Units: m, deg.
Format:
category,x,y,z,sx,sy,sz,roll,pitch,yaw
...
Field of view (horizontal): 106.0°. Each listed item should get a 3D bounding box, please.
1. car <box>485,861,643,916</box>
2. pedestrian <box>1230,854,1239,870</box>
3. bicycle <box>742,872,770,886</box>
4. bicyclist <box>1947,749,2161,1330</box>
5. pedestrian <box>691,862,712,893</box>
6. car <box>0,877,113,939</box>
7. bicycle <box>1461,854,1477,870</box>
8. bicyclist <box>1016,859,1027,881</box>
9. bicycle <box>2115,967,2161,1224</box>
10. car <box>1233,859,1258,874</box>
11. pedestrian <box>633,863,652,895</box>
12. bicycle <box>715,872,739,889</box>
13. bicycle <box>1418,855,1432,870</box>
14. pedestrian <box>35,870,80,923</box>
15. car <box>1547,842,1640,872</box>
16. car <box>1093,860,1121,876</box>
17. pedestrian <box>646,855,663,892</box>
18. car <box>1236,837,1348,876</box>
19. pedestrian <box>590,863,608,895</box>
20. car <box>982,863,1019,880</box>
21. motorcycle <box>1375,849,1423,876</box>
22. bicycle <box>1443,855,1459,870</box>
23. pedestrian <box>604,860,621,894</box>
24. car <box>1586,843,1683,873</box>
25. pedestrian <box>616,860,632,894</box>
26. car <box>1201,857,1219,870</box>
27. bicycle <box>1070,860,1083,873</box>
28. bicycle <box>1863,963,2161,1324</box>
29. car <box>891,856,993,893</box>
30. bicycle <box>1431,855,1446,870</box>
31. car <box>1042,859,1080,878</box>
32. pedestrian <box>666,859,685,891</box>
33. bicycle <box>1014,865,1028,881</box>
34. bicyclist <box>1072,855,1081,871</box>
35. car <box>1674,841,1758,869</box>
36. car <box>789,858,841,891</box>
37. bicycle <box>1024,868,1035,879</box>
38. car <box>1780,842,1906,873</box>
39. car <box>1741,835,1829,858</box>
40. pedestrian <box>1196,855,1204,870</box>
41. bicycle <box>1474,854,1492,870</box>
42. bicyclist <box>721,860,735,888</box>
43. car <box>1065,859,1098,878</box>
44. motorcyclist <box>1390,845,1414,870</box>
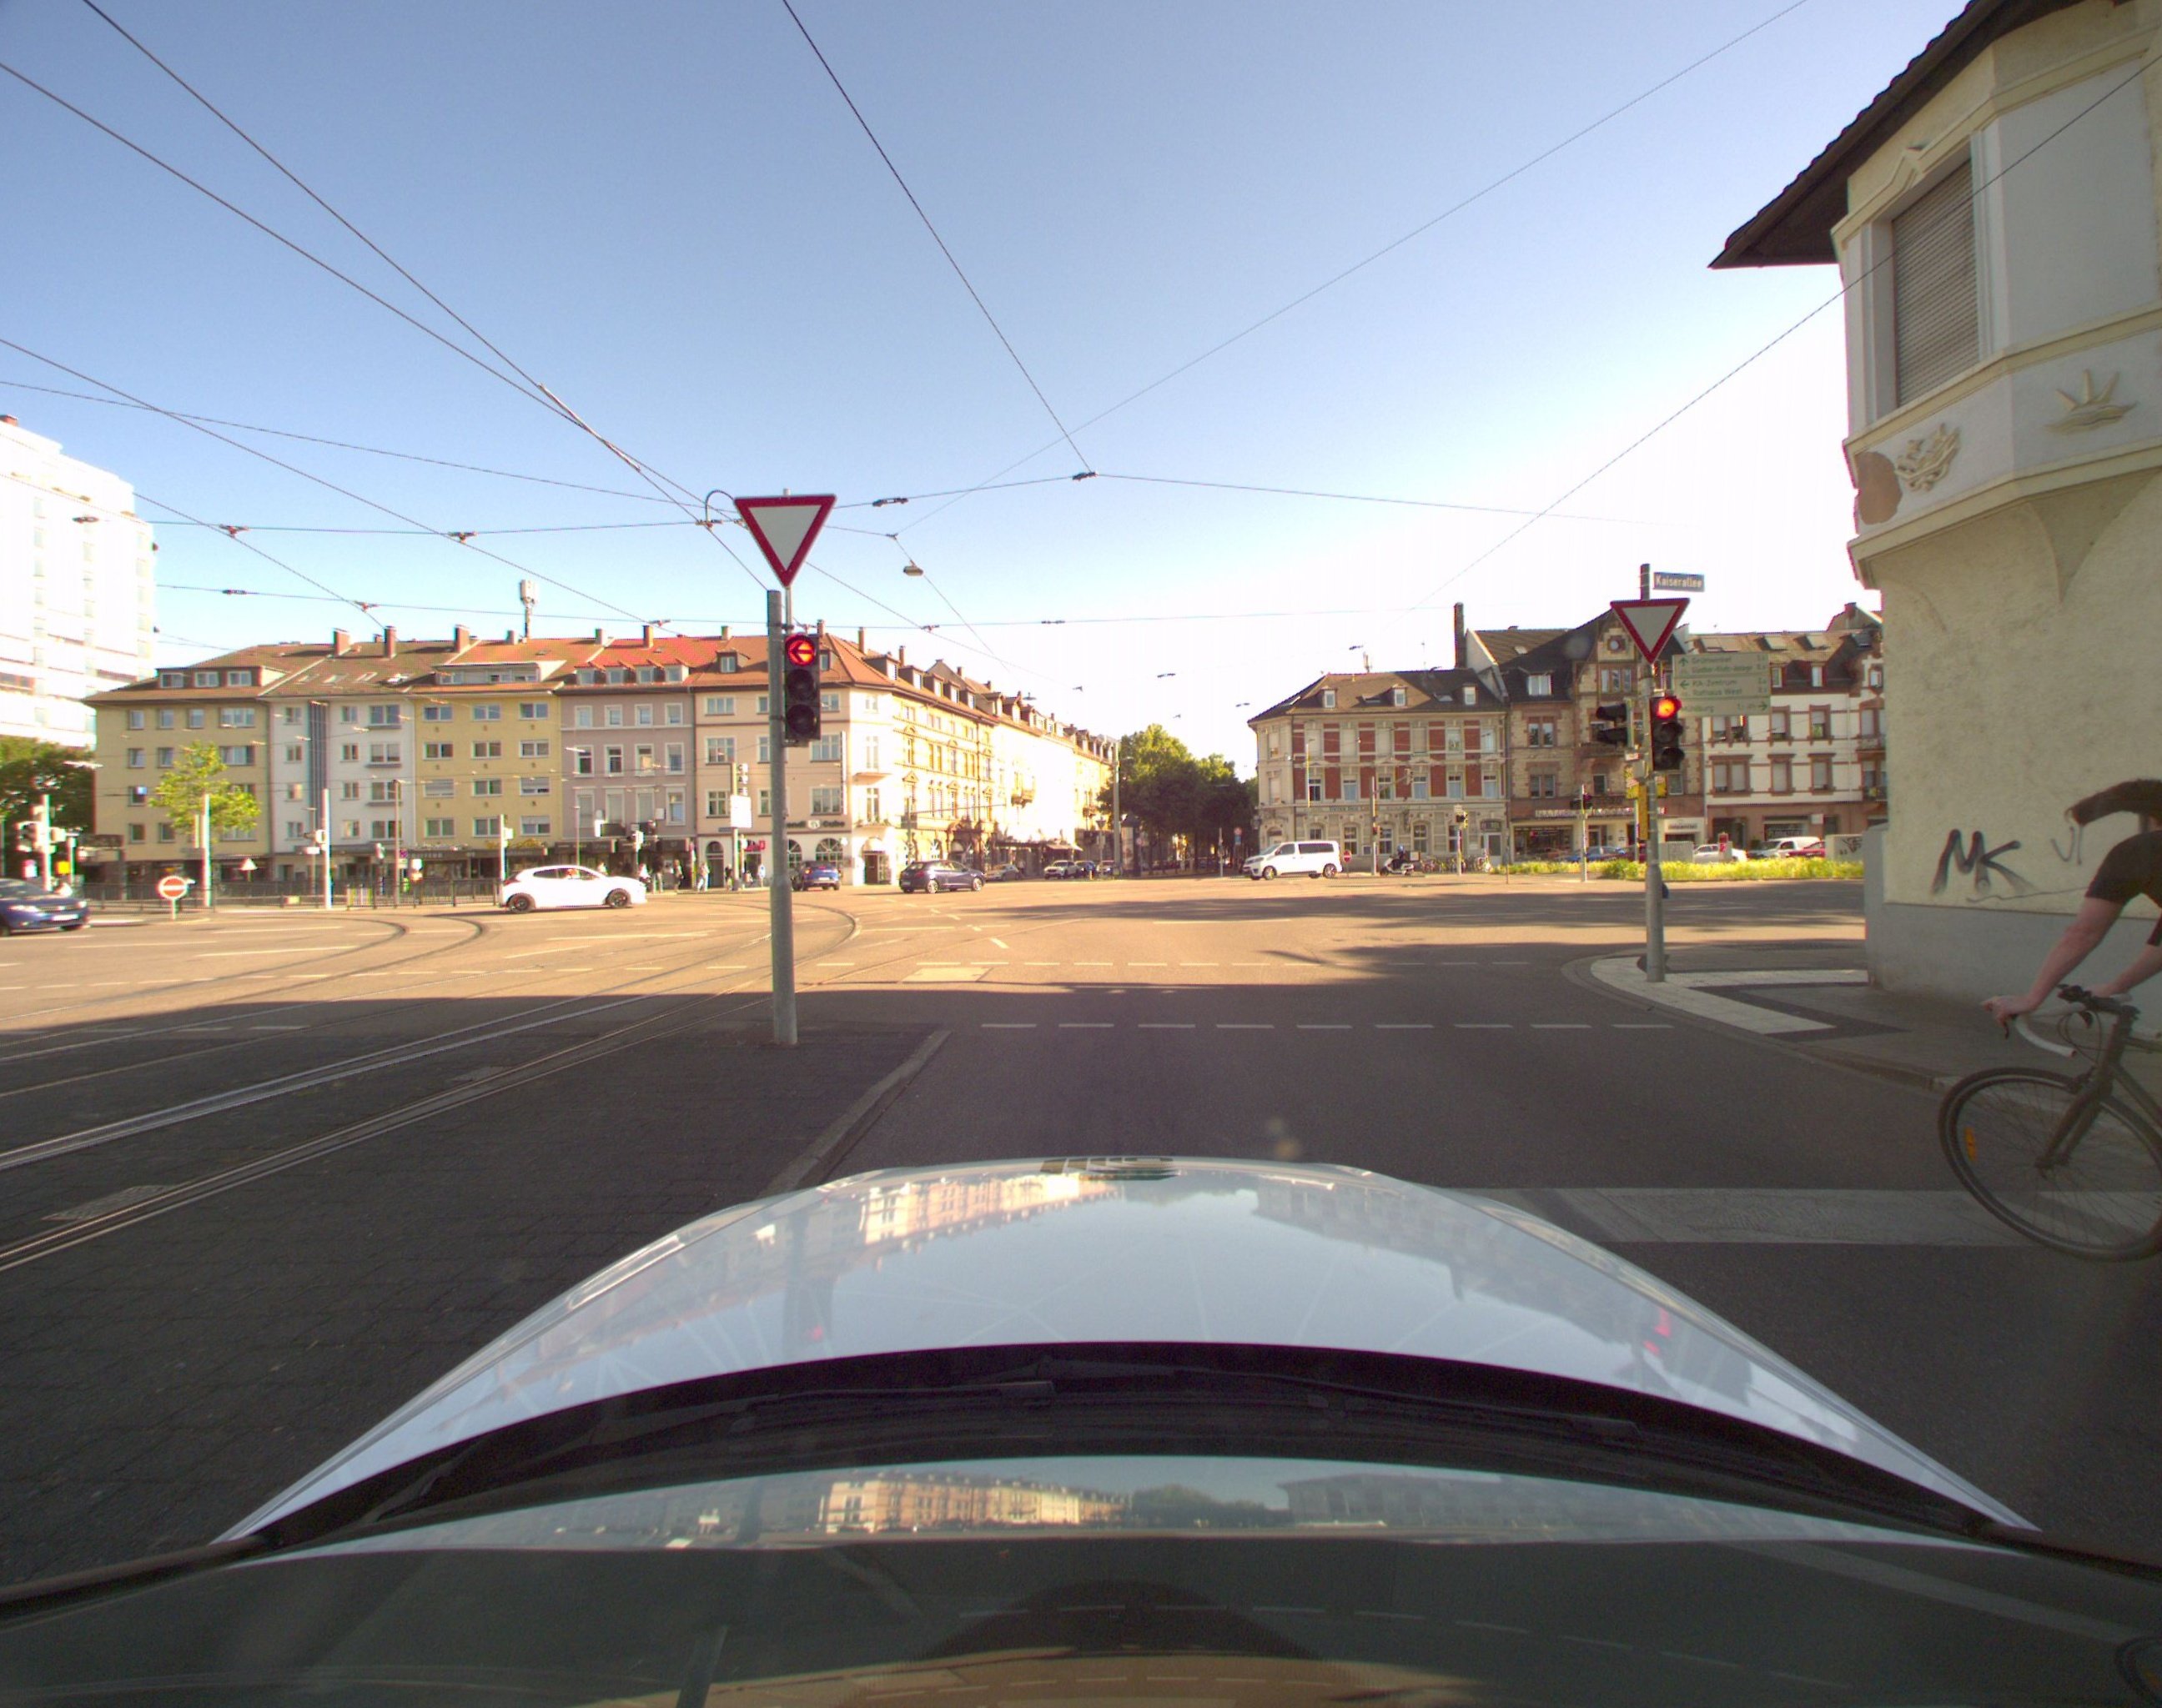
category,x,y,z,sx,sy,sz,roll,pitch,yaw
car,-16.185,1.035,25.704,4.022,1.454,1.879,-2,1,-32
pedestrian,19.320,1.010,102.622,0.957,2.014,0.919,0,-1,3
bicycle,-22.986,1.752,57.590,1.694,0.983,0.611,0,-1,1
bicyclist,3.580,0.565,2.613,0.587,1.767,0.936,0,-1,2
pedestrian,-19.884,1.208,42.665,0.666,1.594,0.815,0,-1,1
car,-29.064,1.476,21.858,3.895,1.503,1.790,-2,1,-1
bicycle,25.172,0.536,52.874,0.758,1.007,2.231,-1,-1,20
bicyclist,-4.783,1.267,65.322,0.561,1.804,0.918,-1,-1,17
bicycle,4.454,0.948,2.430,0.501,0.983,1.783,0,-1,2
car,16.664,1.253,82.408,1.741,1.556,4.021,-1,-1,22
pedestrian,-22.941,1.281,42.587,0.571,1.648,0.727,0,-1,1
bicycle,-22.898,1.699,52.774,0.618,1.030,1.758,0,-1,7
bicycle,22.506,0.571,53.341,0.758,0.963,2.221,-1,-1,20
pedestrian,-31.686,1.309,25.224,0.770,1.609,0.605,0,-1,-44
car,28.329,0.173,45.098,3.970,1.622,1.806,0,-1,3
car,2.664,1.352,81.439,1.788,1.575,3.908,-1,-1,17
pedestrian,-21.522,0.984,41.104,0.525,1.823,0.677,0,-1,1
car,10.690,0.115,41.412,5.199,1.854,1.993,-1,0,-10
pedestrian,-24.993,1.289,42.221,0.582,1.648,0.616,0,-1,1
car,-6.626,1.428,67.301,1.647,1.374,3.909,-1,-1,17
motorcycle,16.376,0.438,41.968,2.124,1.333,0.798,0,-1,6
bicycle,24.085,0.558,53.051,0.758,0.983,2.221,-1,-1,20
pedestrian,-23.377,1.144,40.630,0.520,1.648,0.498,0,-1,1
car,28.396,0.193,41.843,3.854,1.426,1.596,-1,0,2
pedestrian,-22.808,1.140,40.618,0.520,1.648,0.498,0,-1,1
car,18.384,1.336,115.921,1.978,1.684,4.018,-1,-1,17
bicycle,-0.397,1.241,80.310,0.668,1.207,1.831,-1,-1,20
bicycle,3.584,0.958,2.609,0.480,0.991,1.783,0,-1,2
car,-5.816,0.816,34.432,1.808,1.403,4.025,-1,0,41
bicycle,23.261,0.564,53.074,0.758,0.968,2.221,-1,-1,20
car,-1.615,1.174,67.461,1.788,1.585,4.179,-1,-1,19
pedestrian,-21.351,1.116,42.872,0.580,1.648,0.840,0,-1,1
bicycle,-4.807,1.533,65.203,0.561,1.254,1.564,-1,-1,17
bicyclist,-0.399,0.911,80.316,0.668,1.568,0.751,-1,-1,20
car,37.295,0.067,47.881,3.584,1.618,1.779,0,-1,0
car,-13.770,1.013,42.086,1.836,1.575,4.160,-1,0,-28
bicycle,-4.412,1.647,69.631,0.469,0.922,1.458,-1,-1,17
car,39.646,0.153,42.452,4.839,1.469,1.805,-1,1,2
car,45.271,-0.449,52.408,3.961,1.438,1.874,0,-1,5
pedestrian,15.824,1.112,108.281,0.936,2.014,0.830,-1,-1,16
bicycle,25.997,0.528,52.706,0.785,1.016,2.221,-1,-1,20
bicyclist,-22.892,1.304,52.811,0.618,1.790,0.616,0,-1,7
car,0.074,1.285,73.760,1.809,1.685,3.893,-1,-1,18
motorcyclist,16.537,0.184,41.957,1.009,1.300,0.790,0,-1,6
